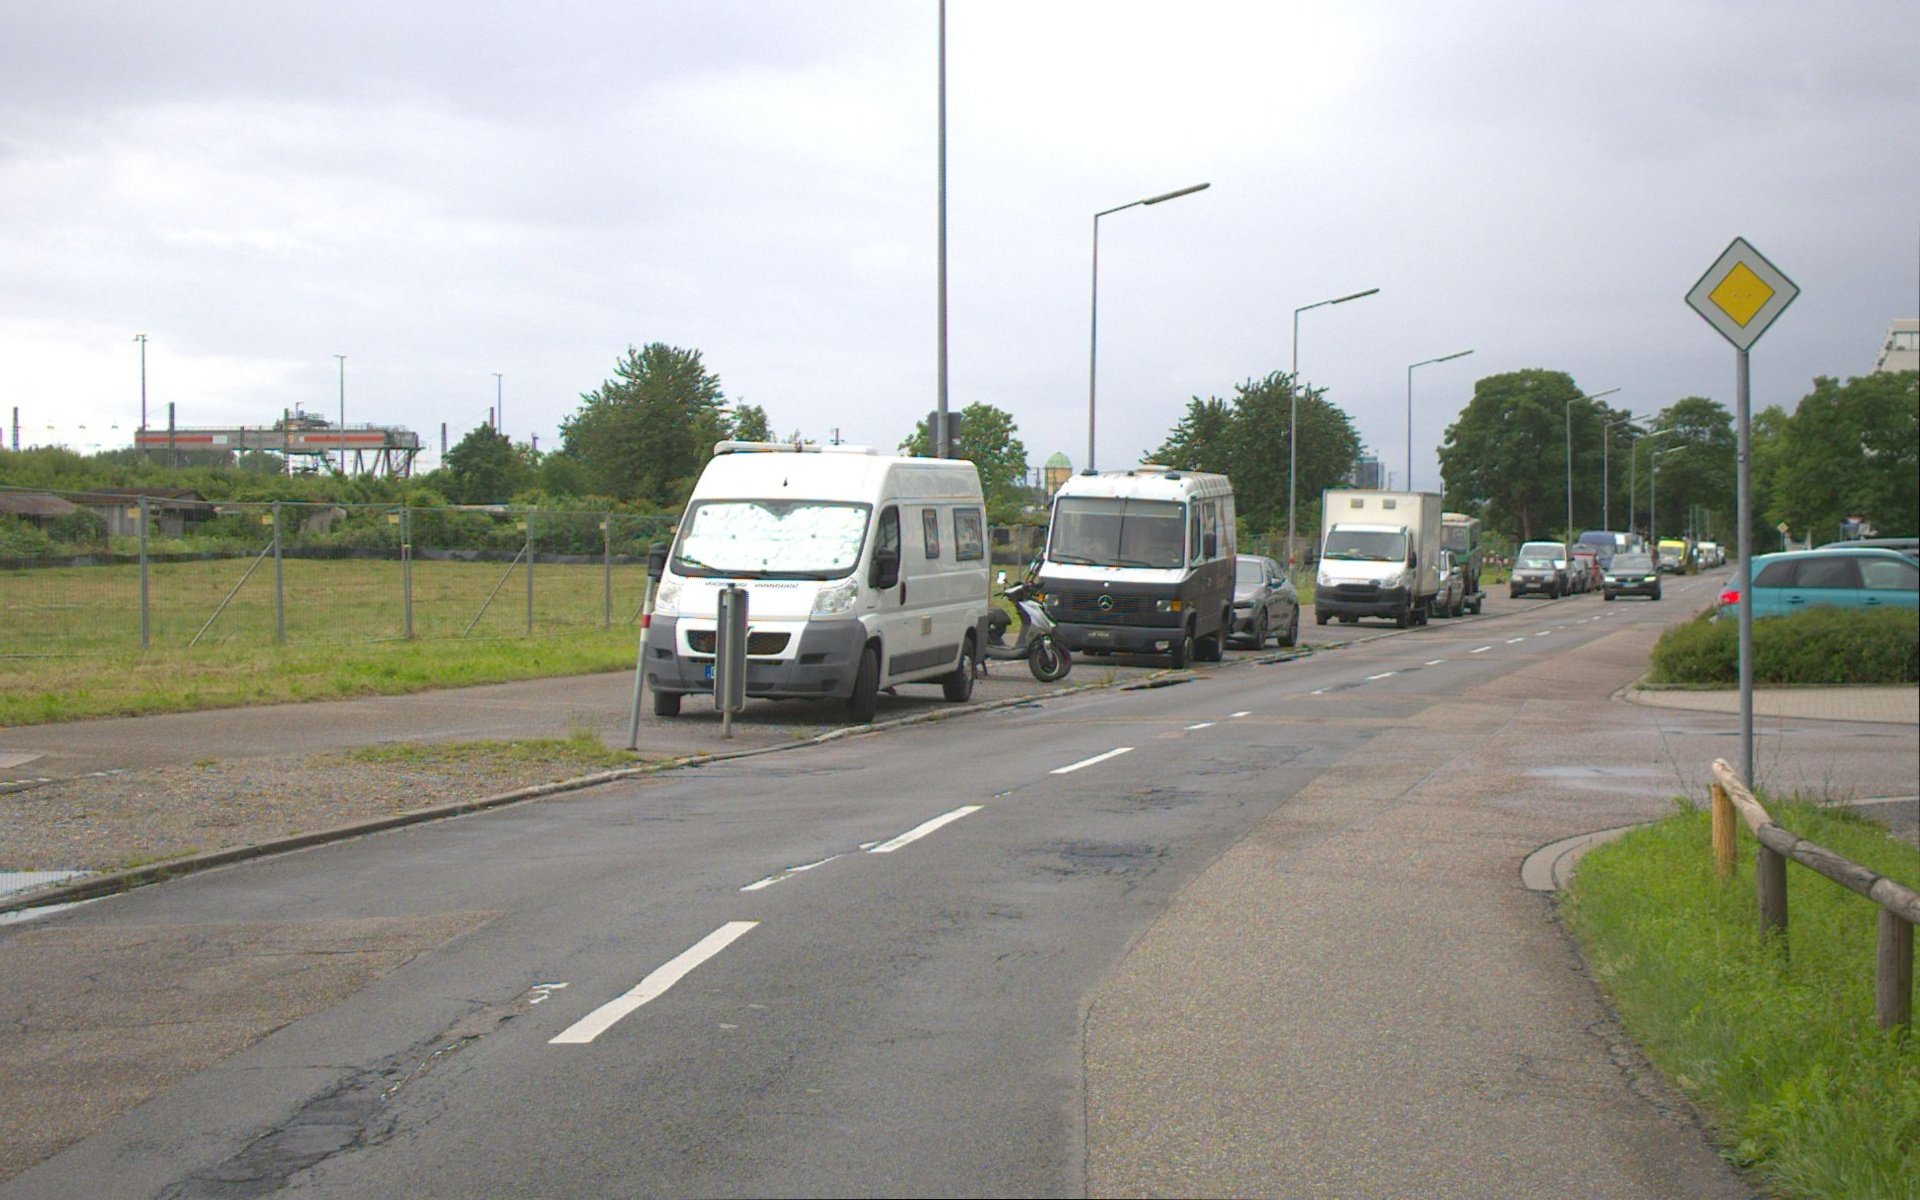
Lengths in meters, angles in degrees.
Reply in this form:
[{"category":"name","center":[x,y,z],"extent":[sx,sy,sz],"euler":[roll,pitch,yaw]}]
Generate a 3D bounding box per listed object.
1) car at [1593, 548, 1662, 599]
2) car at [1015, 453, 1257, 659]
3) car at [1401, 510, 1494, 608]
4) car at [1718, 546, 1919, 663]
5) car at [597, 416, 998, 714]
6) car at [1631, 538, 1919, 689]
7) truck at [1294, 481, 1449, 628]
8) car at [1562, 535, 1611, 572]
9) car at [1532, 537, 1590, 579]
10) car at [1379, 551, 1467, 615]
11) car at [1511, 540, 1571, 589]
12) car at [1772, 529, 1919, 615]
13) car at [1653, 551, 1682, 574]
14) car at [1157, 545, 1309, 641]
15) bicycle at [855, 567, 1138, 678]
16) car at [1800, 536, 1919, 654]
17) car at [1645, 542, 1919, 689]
[{"category":"car","center":[22.982,-0.933,118.307],"extent":[2.044,1.657,4.104],"euler":[1,2,15]},{"category":"car","center":[2.611,-0.662,49.183],"extent":[2.302,2.725,6.088],"euler":[1,1,14]},{"category":"car","center":[13.198,-1.124,92.856],"extent":[2.006,2.565,4.783],"euler":[1,1,13]},{"category":"car","center":[12.789,0.066,46.580],"extent":[4.864,1.495,1.841],"euler":[1,1,13]},{"category":"car","center":[-1.390,-0.369,32.953],"extent":[2.290,2.547,6.407],"euler":[1,1,12]},{"category":"car","center":[10.217,0.150,39.356],"extent":[4.864,1.610,1.841],"euler":[1,1,13]},{"category":"truck","center":[9.168,-1.023,75.934],"extent":[2.463,3.050,8.157],"euler":[1,1,13]},{"category":"car","center":[26.854,-1.998,147.221],"extent":[1.756,1.520,3.997],"euler":[1,1,15]},{"category":"car","center":[22.124,-1.552,126.538],"extent":[1.756,1.520,3.997],"euler":[1,1,15]},{"category":"car","center":[11.542,-0.444,85.519],"extent":[1.756,1.520,3.998],"euler":[1,1,13]},{"category":"car","center":[20.189,-1.247,119.427],"extent":[1.650,1.657,3.573],"euler":[1,2,16]},{"category":"car","center":[19.055,-0.579,71.093],"extent":[4.329,1.714,1.999],"euler":[1,1,13]},{"category":"car","center":[49.222,-2.621,239.222],"extent":[1.756,1.520,3.997],"euler":[1,1,15]},{"category":"car","center":[4.517,-0.146,56.379],"extent":[1.781,1.499,3.997],"euler":[1,1,15]},{"category":"bicycle","center":[0.448,0.254,40.886],"extent":[3.122,1.195,1.364],"euler":[1,1,13]},{"category":"car","center":[14.733,-0.071,51.024],"extent":[4.329,1.714,1.999],"euler":[1,1,13]},{"category":"car","center":[10.866,0.184,41.824],"extent":[4.864,1.657,1.841],"euler":[1,1,13]}]
